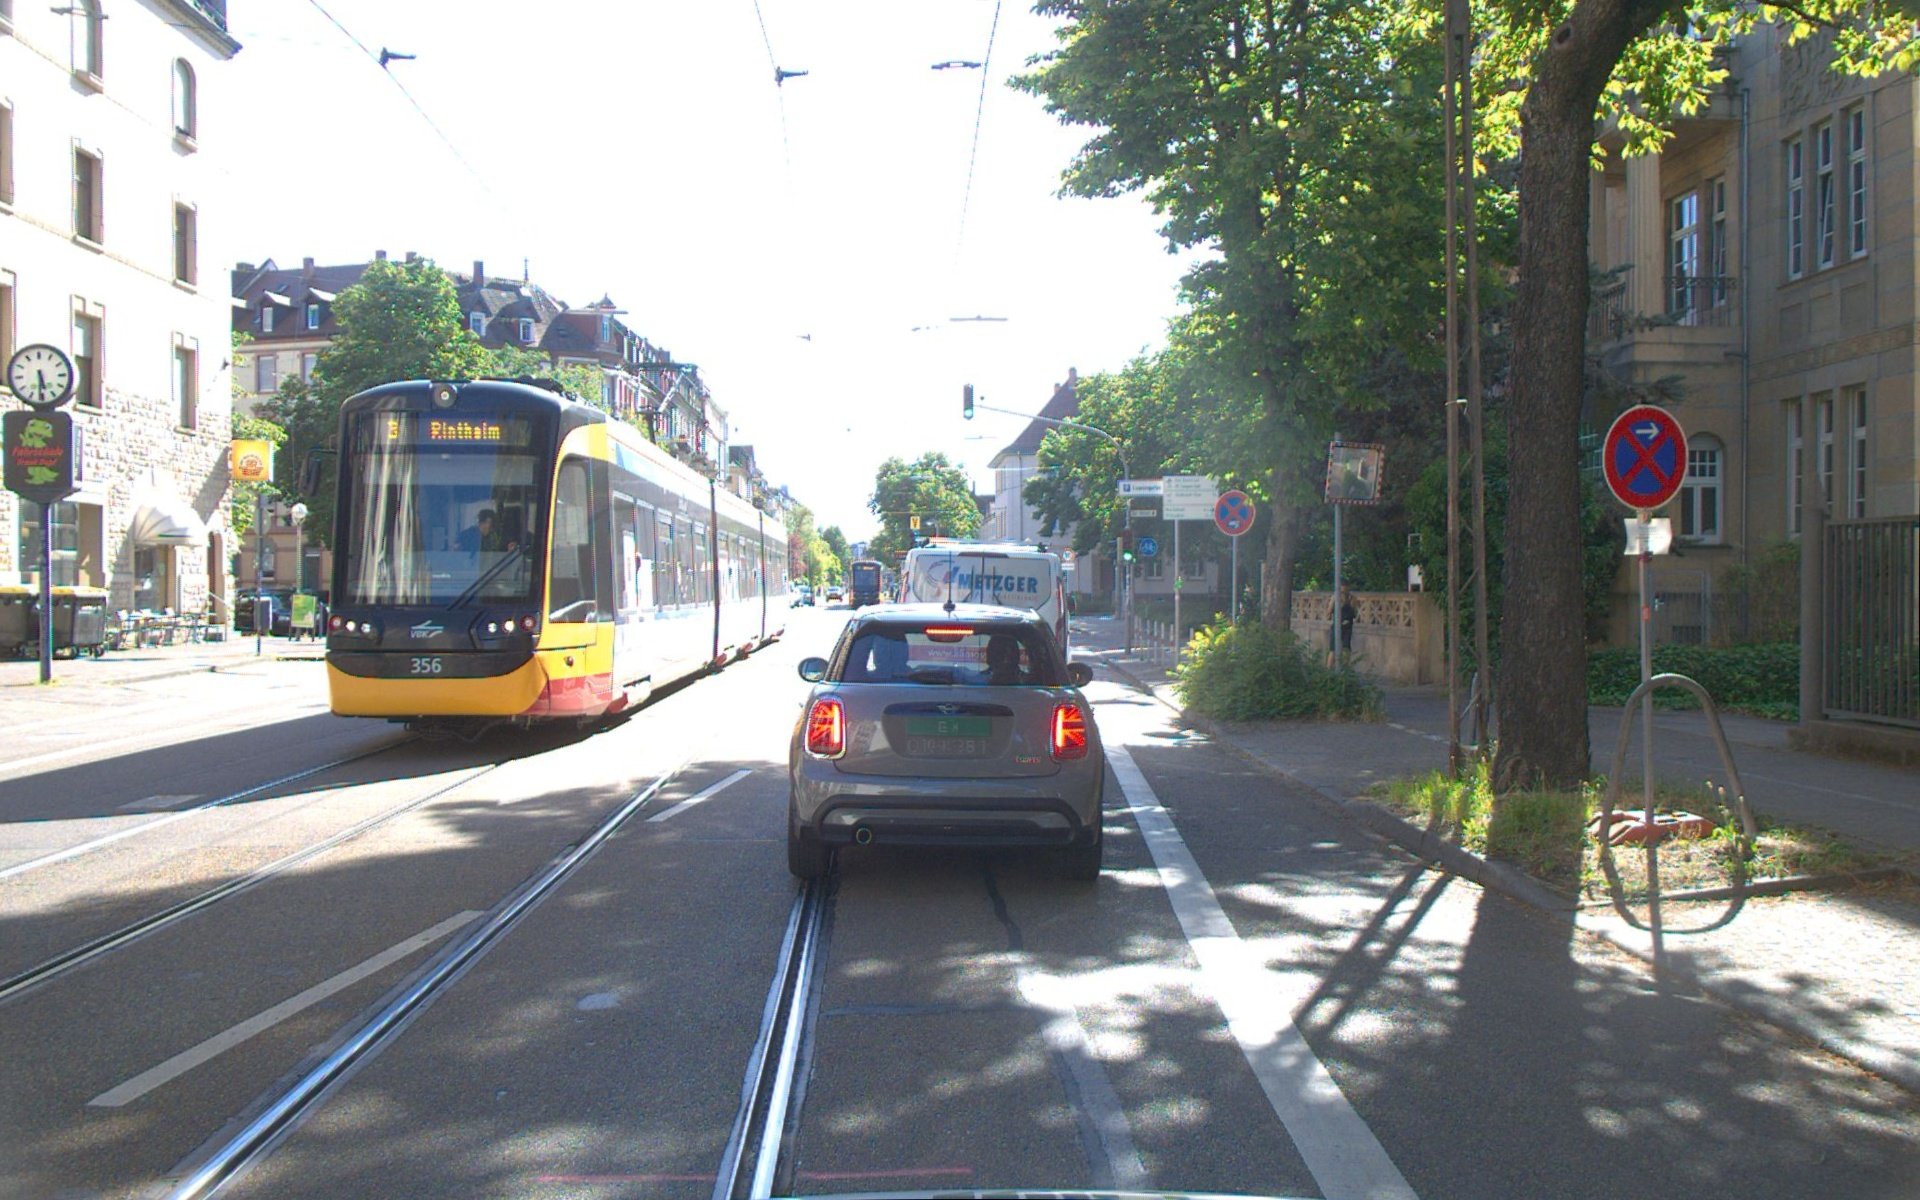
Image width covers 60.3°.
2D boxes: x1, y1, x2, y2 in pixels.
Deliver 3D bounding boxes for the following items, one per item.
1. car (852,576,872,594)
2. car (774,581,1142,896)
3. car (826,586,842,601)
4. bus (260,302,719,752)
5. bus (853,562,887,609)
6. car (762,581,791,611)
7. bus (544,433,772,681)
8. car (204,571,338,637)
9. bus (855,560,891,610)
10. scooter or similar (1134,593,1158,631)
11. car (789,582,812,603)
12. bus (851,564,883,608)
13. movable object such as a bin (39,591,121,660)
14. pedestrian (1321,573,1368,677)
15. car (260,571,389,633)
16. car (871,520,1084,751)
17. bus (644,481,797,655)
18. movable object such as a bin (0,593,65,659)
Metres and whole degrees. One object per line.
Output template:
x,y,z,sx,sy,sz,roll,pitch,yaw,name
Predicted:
-9.213,-1.417,154.842,1.827,1.591,3.996,1,0,-4,car
-0.037,0.688,10.092,1.778,1.514,3.999,1,0,-1,car
-14.069,-0.750,184.827,1.741,1.646,3.996,1,0,-4,car
-4.899,-0.605,20.054,2.803,3.843,11.490,1,0,-3,bus
-7.092,-1.081,129.367,2.339,3.557,7.376,1,0,-5,bus
-13.239,-0.283,119.298,1.956,2.049,5.020,1,0,-8,car
-5.358,-0.650,31.472,2.803,3.843,11.176,1,0,-3,bus
-22.568,0.122,54.191,3.910,2.049,1.997,1,0,28,car
-6.450,-1.085,121.980,2.339,3.557,7.376,1,0,-5,bus
6.611,0.423,58.913,0.662,1.333,1.328,1,0,-2,scooter or similar
-12.988,-0.608,134.464,1.741,1.646,3.996,1,0,-4,car
-7.722,-1.114,136.701,2.339,3.557,7.376,1,0,-5,bus
-17.003,0.490,31.988,0.925,1.296,1.144,1,0,3,movable object such as a bin
6.396,0.417,27.558,0.580,1.700,0.646,-2,0,-1,pedestrian
-21.621,0.060,56.282,3.910,2.049,1.997,1,0,28,car
0.140,0.361,18.859,2.075,2.247,4.943,1,0,-1,car
-5.945,-0.692,43.053,2.793,3.843,12.189,1,0,-3,bus
-17.910,0.489,31.672,0.815,1.244,1.244,1,0,1,movable object such as a bin
